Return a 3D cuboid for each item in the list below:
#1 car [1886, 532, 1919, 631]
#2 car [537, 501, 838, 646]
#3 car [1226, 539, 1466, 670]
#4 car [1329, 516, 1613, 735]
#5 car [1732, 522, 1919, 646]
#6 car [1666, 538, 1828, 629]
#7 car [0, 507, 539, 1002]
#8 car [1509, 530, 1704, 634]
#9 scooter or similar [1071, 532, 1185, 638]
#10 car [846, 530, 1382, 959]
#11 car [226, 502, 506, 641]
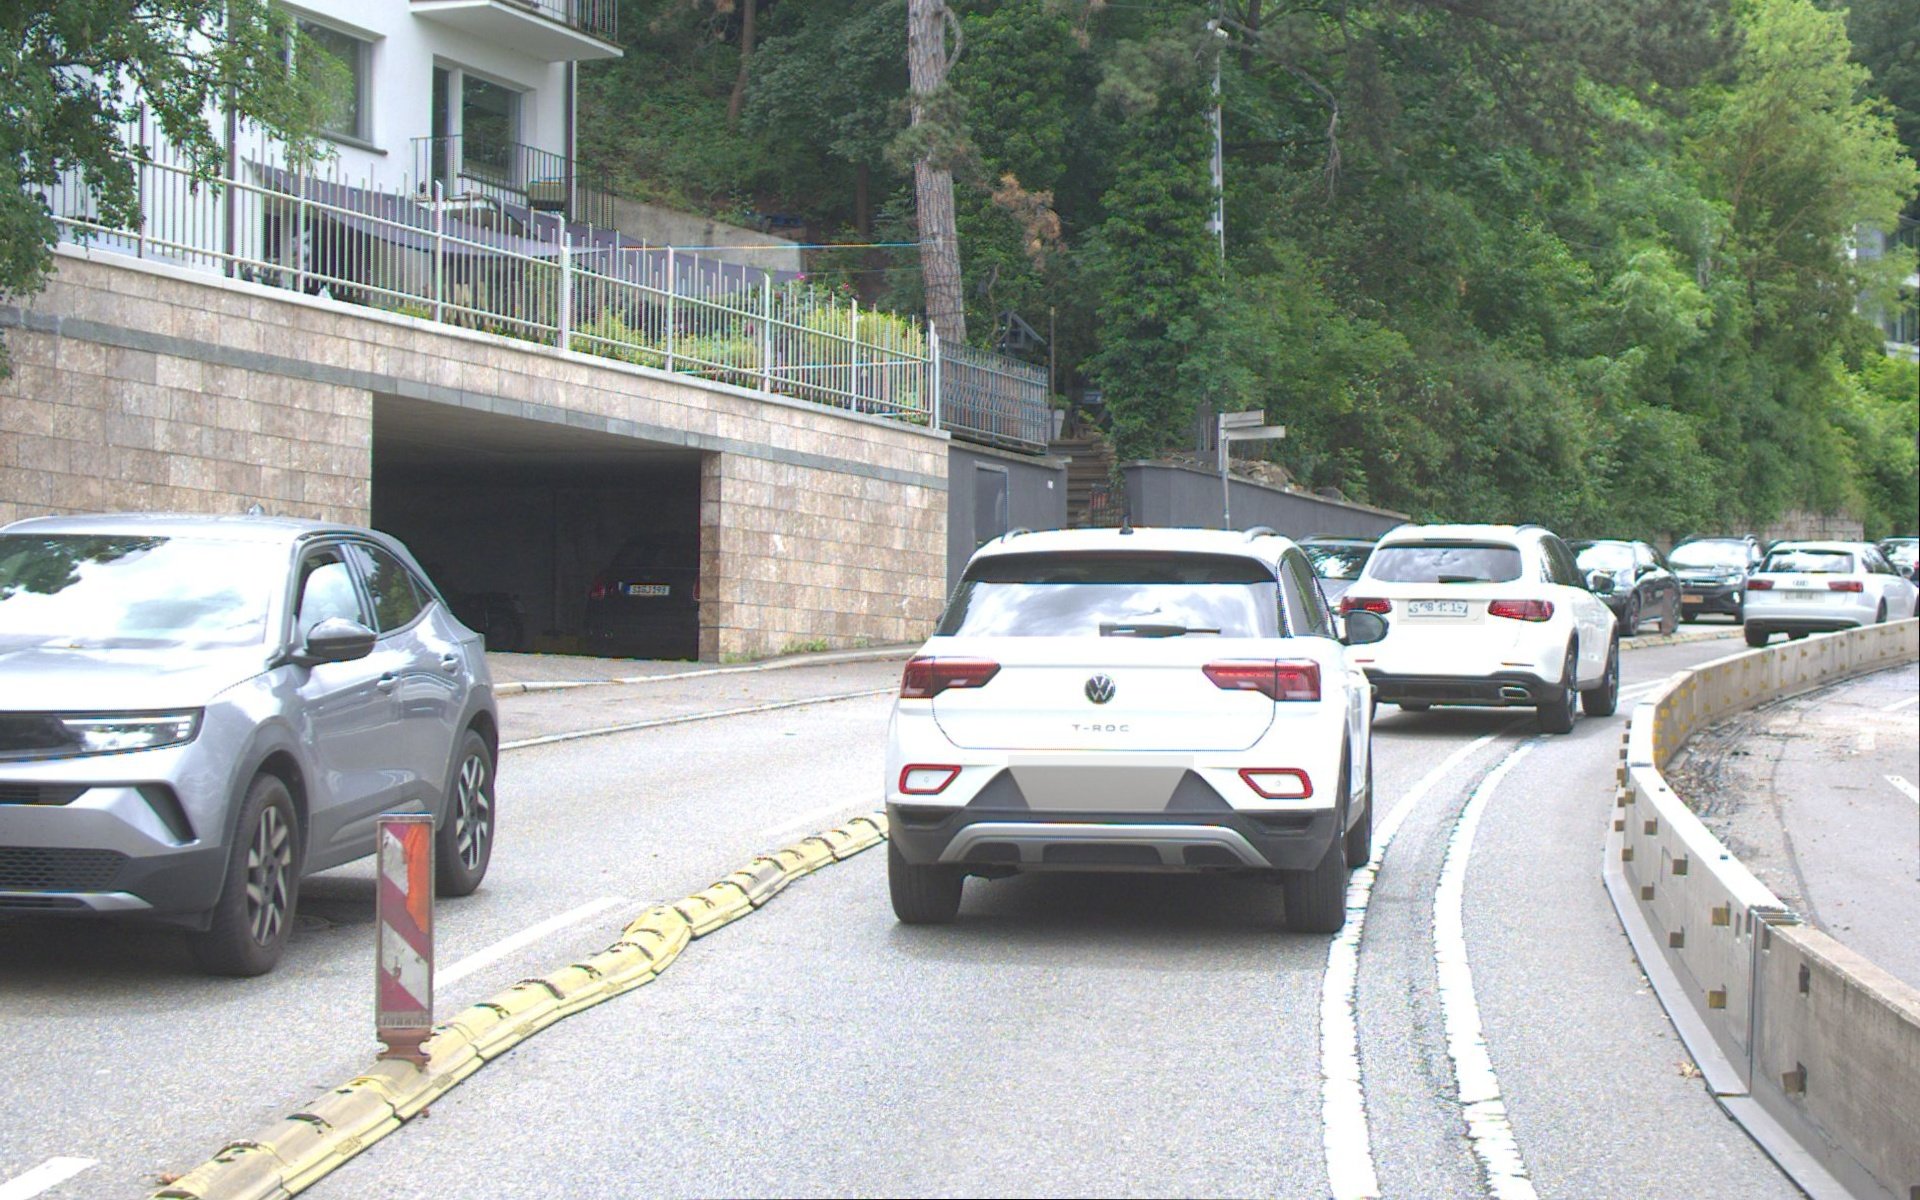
[{"bbox_3d":[17.209,-0.351,59.123,1.812,1.657,3.995,0,1,25],"label":"car"},{"bbox_3d":[-2.963,-0.262,38.116,1.784,1.448,3.698,2,-1,23],"label":"car"},{"bbox_3d":[4.579,0.013,40.219,1.769,1.430,4.304,1,1,21],"label":"car"},{"bbox_3d":[4.262,0.152,28.232,1.811,1.657,3.997,0,1,16],"label":"car"},{"bbox_3d":[12.179,-0.254,48.240,1.812,1.657,3.995,0,1,25],"label":"car"},{"bbox_3d":[13.586,-0.307,59.168,1.770,1.447,4.303,3,2,25],"label":"car"},{"bbox_3d":[-2.978,0.429,12.760,1.768,1.512,4.024,2,1,8],"label":"car"},{"bbox_3d":[9.801,-0.293,51.887,1.770,1.430,4.302,3,2,26],"label":"car"},{"bbox_3d":[2.011,-0.182,41.219,1.308,1.251,0.467,1,1,-2],"label":"scooter or similar"},{"bbox_3d":[0.792,0.481,14.528,1.810,1.526,3.999,1,1,9],"label":"car"},{"bbox_3d":[-6.610,-0.287,38.604,1.771,1.414,3.543,2,-1,14],"label":"car"}]
